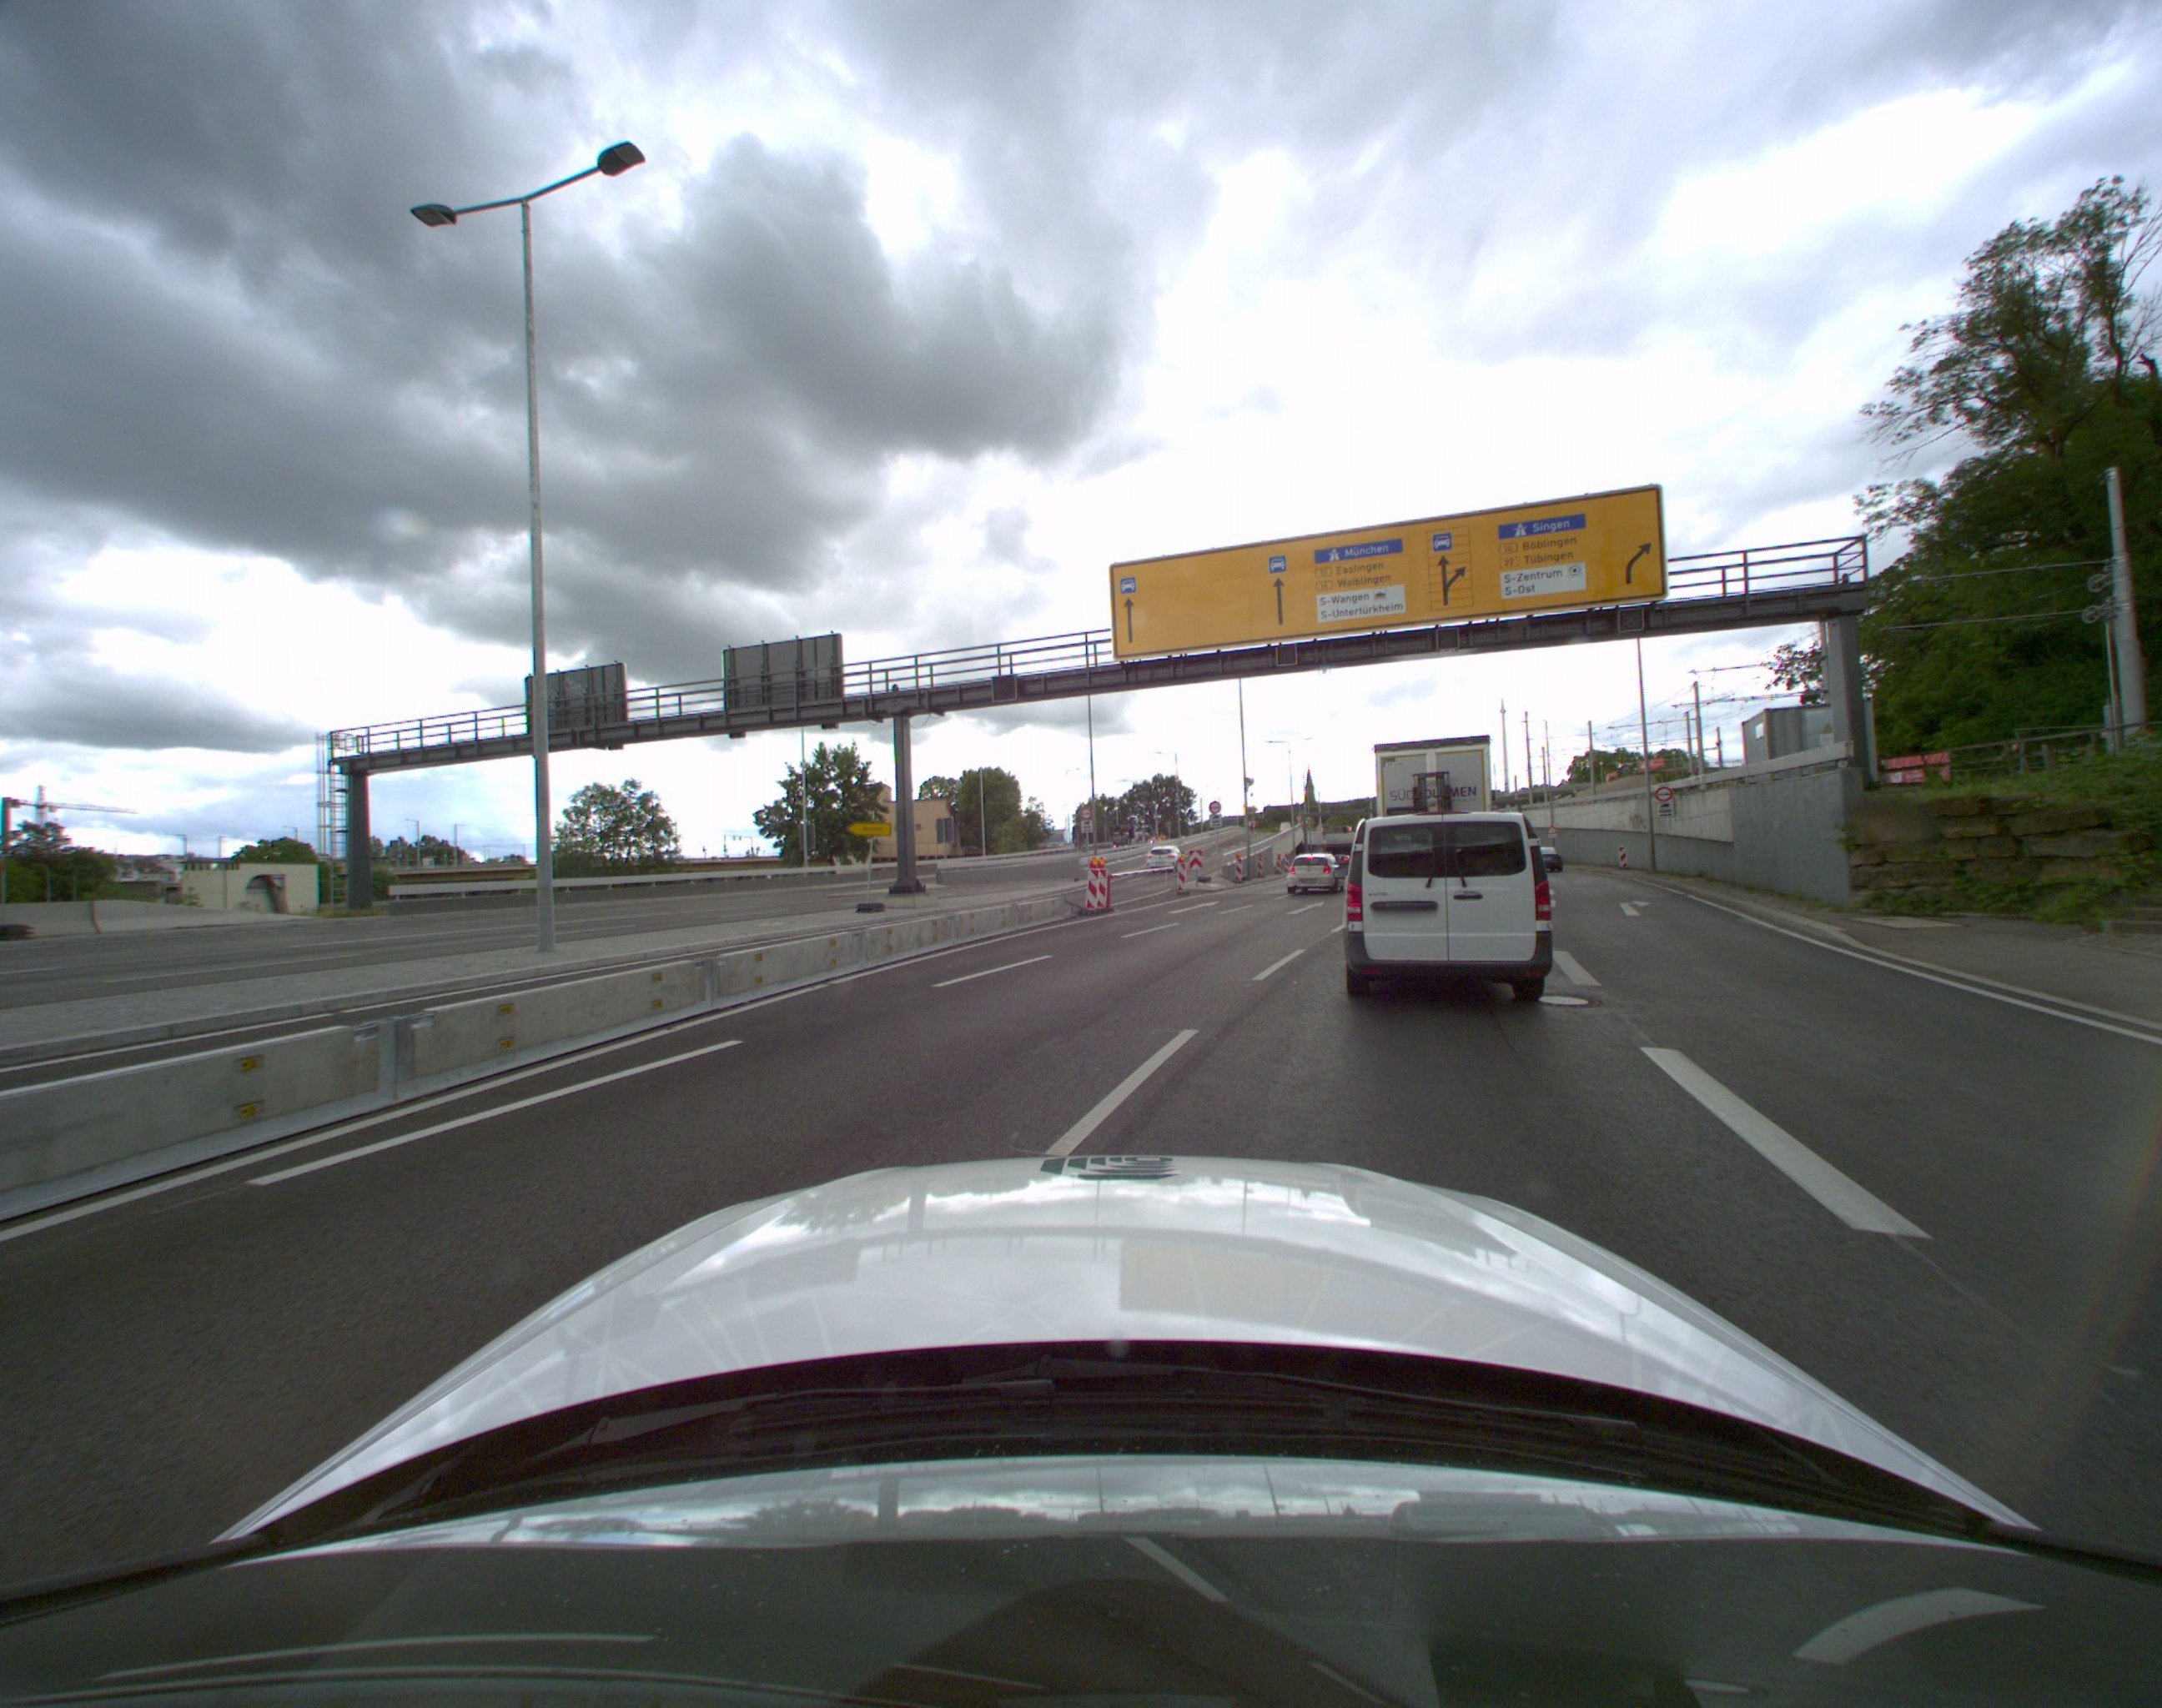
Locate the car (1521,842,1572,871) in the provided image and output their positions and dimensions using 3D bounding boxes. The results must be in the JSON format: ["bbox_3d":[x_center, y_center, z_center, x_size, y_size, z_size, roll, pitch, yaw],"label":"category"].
[{"bbox_3d":[27.250,0.175,47.786,1.877,1.626,4.020,-1,-1,20],"label":"car"}]

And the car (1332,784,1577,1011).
[{"bbox_3d":[4.126,0.407,9.906,1.978,1.990,5.222,-1,-1,17],"label":"car"}]

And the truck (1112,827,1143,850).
[{"bbox_3d":[7.293,-2.469,126.417,2.712,3.389,10.664,0,2,15],"label":"truck"}]

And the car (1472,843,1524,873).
[{"bbox_3d":[22.441,0.264,43.952,1.877,1.520,4.018,-1,-2,19],"label":"car"}]

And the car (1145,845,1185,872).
[{"bbox_3d":[4.844,0.246,46.650,1.731,1.432,3.790,1,0,14],"label":"car"}]

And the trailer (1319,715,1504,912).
[{"bbox_3d":[9.590,-0.824,22.936,3.690,4.142,11.047,-1,-1,26],"label":"trailer"}]

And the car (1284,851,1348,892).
[{"bbox_3d":[8.763,0.613,30.102,1.701,1.398,4.371,-1,-1,24],"label":"car"}]

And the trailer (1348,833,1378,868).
[{"bbox_3d":[22.130,-0.258,64.027,2.086,2.639,4.832,1,0,18],"label":"trailer"}]

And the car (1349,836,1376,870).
[{"bbox_3d":[23.339,-0.061,67.663,2.041,2.628,5.970,1,0,18],"label":"car"}]

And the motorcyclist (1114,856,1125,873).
[{"bbox_3d":[3.581,0.988,75.344,0.659,1.606,1.109,-1,-1,23],"label":"motorcyclist"}]

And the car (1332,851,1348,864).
[{"bbox_3d":[33.538,0.512,105.492,1.648,1.488,3.579,-2,-3,13],"label":"car"}]
